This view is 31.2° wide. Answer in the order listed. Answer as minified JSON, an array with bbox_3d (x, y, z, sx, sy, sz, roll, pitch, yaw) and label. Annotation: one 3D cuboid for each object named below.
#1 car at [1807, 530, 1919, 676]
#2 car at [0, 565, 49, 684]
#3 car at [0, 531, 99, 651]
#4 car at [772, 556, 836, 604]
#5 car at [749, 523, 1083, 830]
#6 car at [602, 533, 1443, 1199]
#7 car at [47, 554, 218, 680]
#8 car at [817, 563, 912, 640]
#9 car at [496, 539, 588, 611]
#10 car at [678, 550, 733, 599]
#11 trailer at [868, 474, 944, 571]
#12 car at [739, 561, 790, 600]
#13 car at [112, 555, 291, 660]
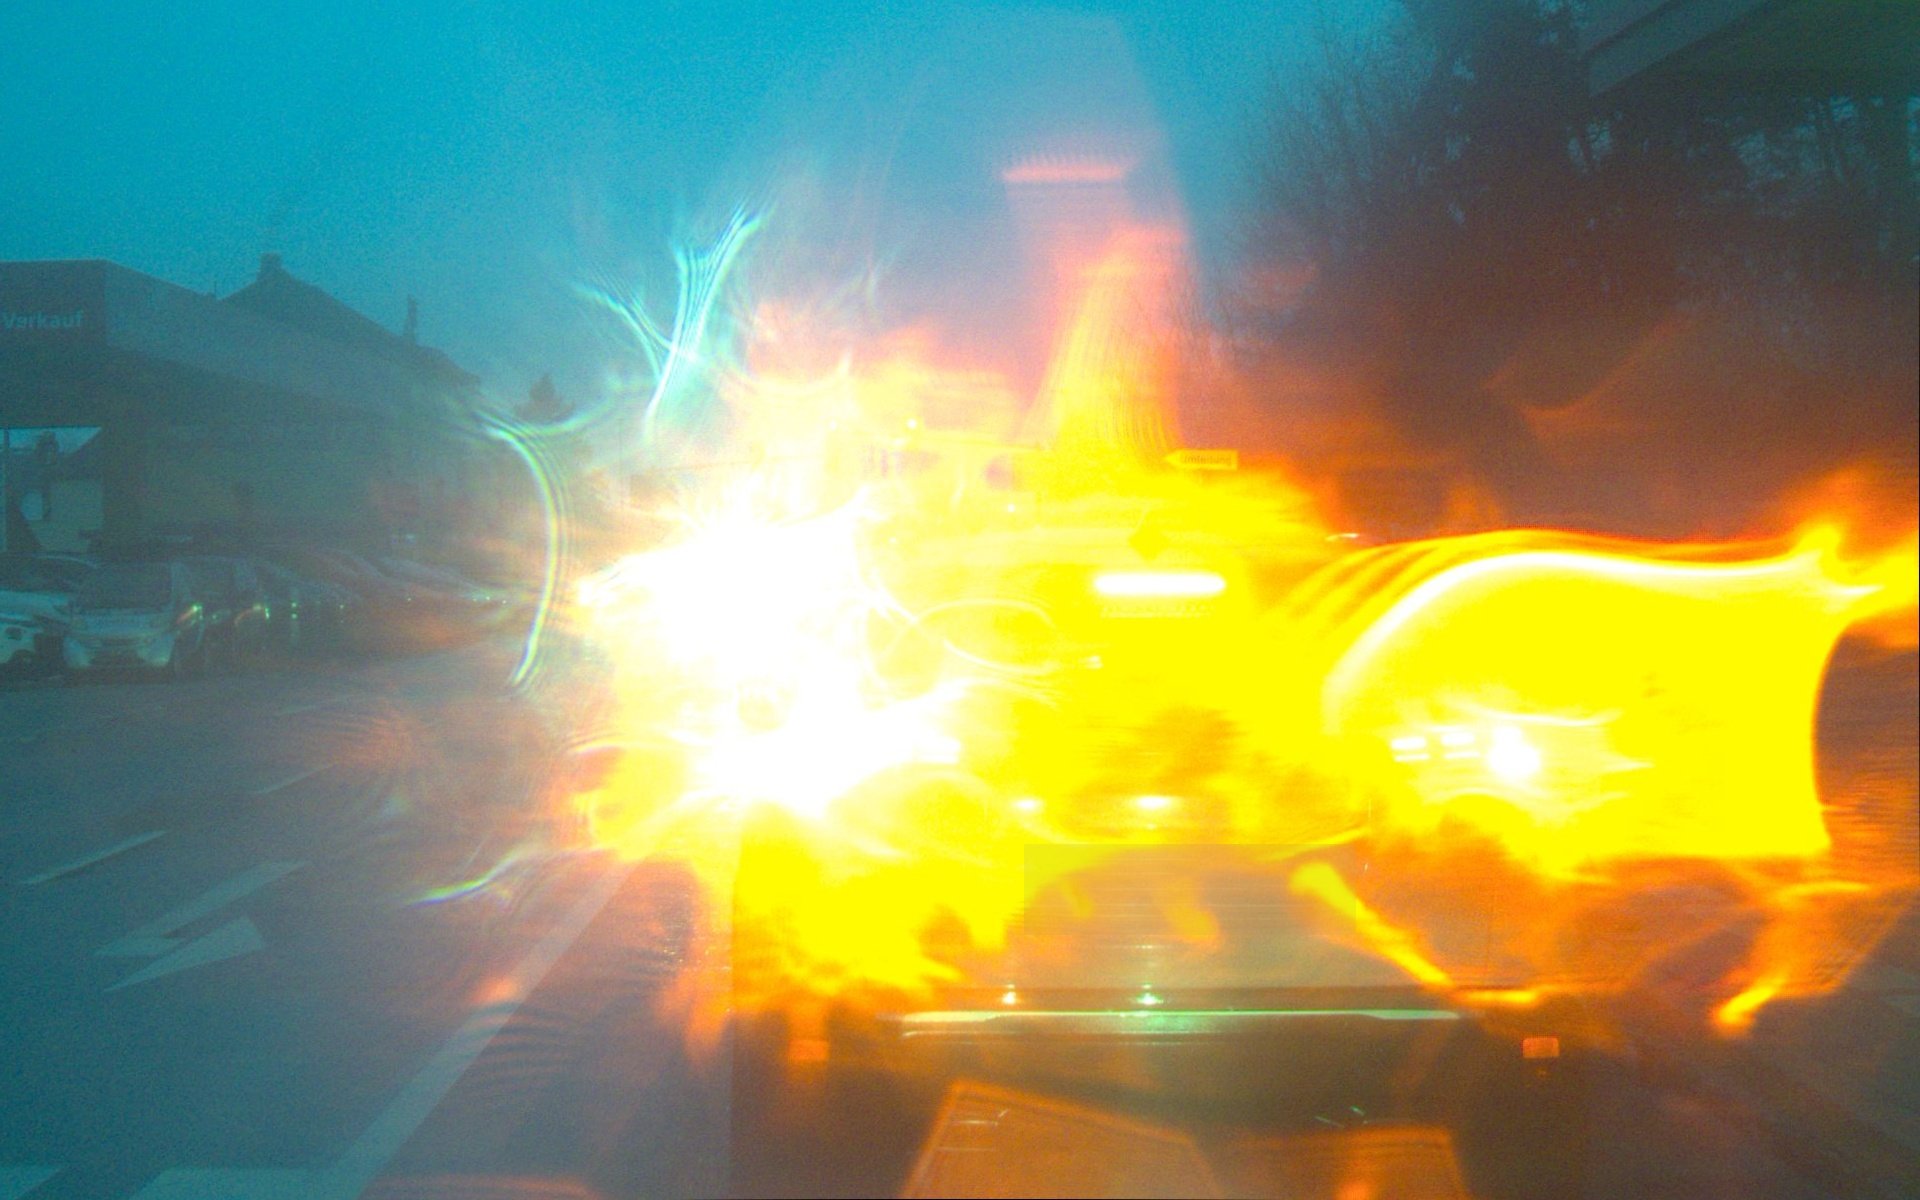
[{"bbox_3d":[11.818,-0.011,39.488,4.471,1.603,2.018,-1,1,-45],"label":"car"},{"bbox_3d":[-13.636,0.280,43.543,3.771,1.454,1.776,1,1,-4],"label":"car"},{"bbox_3d":[-14.419,-0.118,48.489,4.047,1.644,1.942,-1,1,1],"label":"car"},{"bbox_3d":[-5.410,-0.678,118.449,2.047,1.567,4.704,-2,1,-4],"label":"car"},{"bbox_3d":[-0.258,0.360,20.009,1.708,1.570,4.464,-1,1,-1],"label":"car"},{"bbox_3d":[0.089,0.611,8.402,1.565,1.524,4.007,0,1,-1],"label":"car"},{"bbox_3d":[-10.766,0.197,44.886,1.518,1.537,3.015,-2,1,-1],"label":"car"},{"bbox_3d":[-1.711,-0.003,62.315,1.653,1.331,4.272,0,1,-1],"label":"car"},{"bbox_3d":[-11.252,-0.689,92.769,1.970,1.824,4.513,-2,1,-1],"label":"car"},{"bbox_3d":[-8.493,-0.860,115.039,1.603,1.529,4.000,-2,1,-2],"label":"car"},{"bbox_3d":[-1.955,-2.623,119.993,2.488,3.230,10.869,0,0,-2],"label":"trailer"},{"bbox_3d":[-9.176,-0.930,161.558,1.993,1.740,4.000,-2,1,2],"label":"car"},{"bbox_3d":[-10.821,0.080,49.252,1.682,1.416,3.740,-1,1,1],"label":"car"}]
